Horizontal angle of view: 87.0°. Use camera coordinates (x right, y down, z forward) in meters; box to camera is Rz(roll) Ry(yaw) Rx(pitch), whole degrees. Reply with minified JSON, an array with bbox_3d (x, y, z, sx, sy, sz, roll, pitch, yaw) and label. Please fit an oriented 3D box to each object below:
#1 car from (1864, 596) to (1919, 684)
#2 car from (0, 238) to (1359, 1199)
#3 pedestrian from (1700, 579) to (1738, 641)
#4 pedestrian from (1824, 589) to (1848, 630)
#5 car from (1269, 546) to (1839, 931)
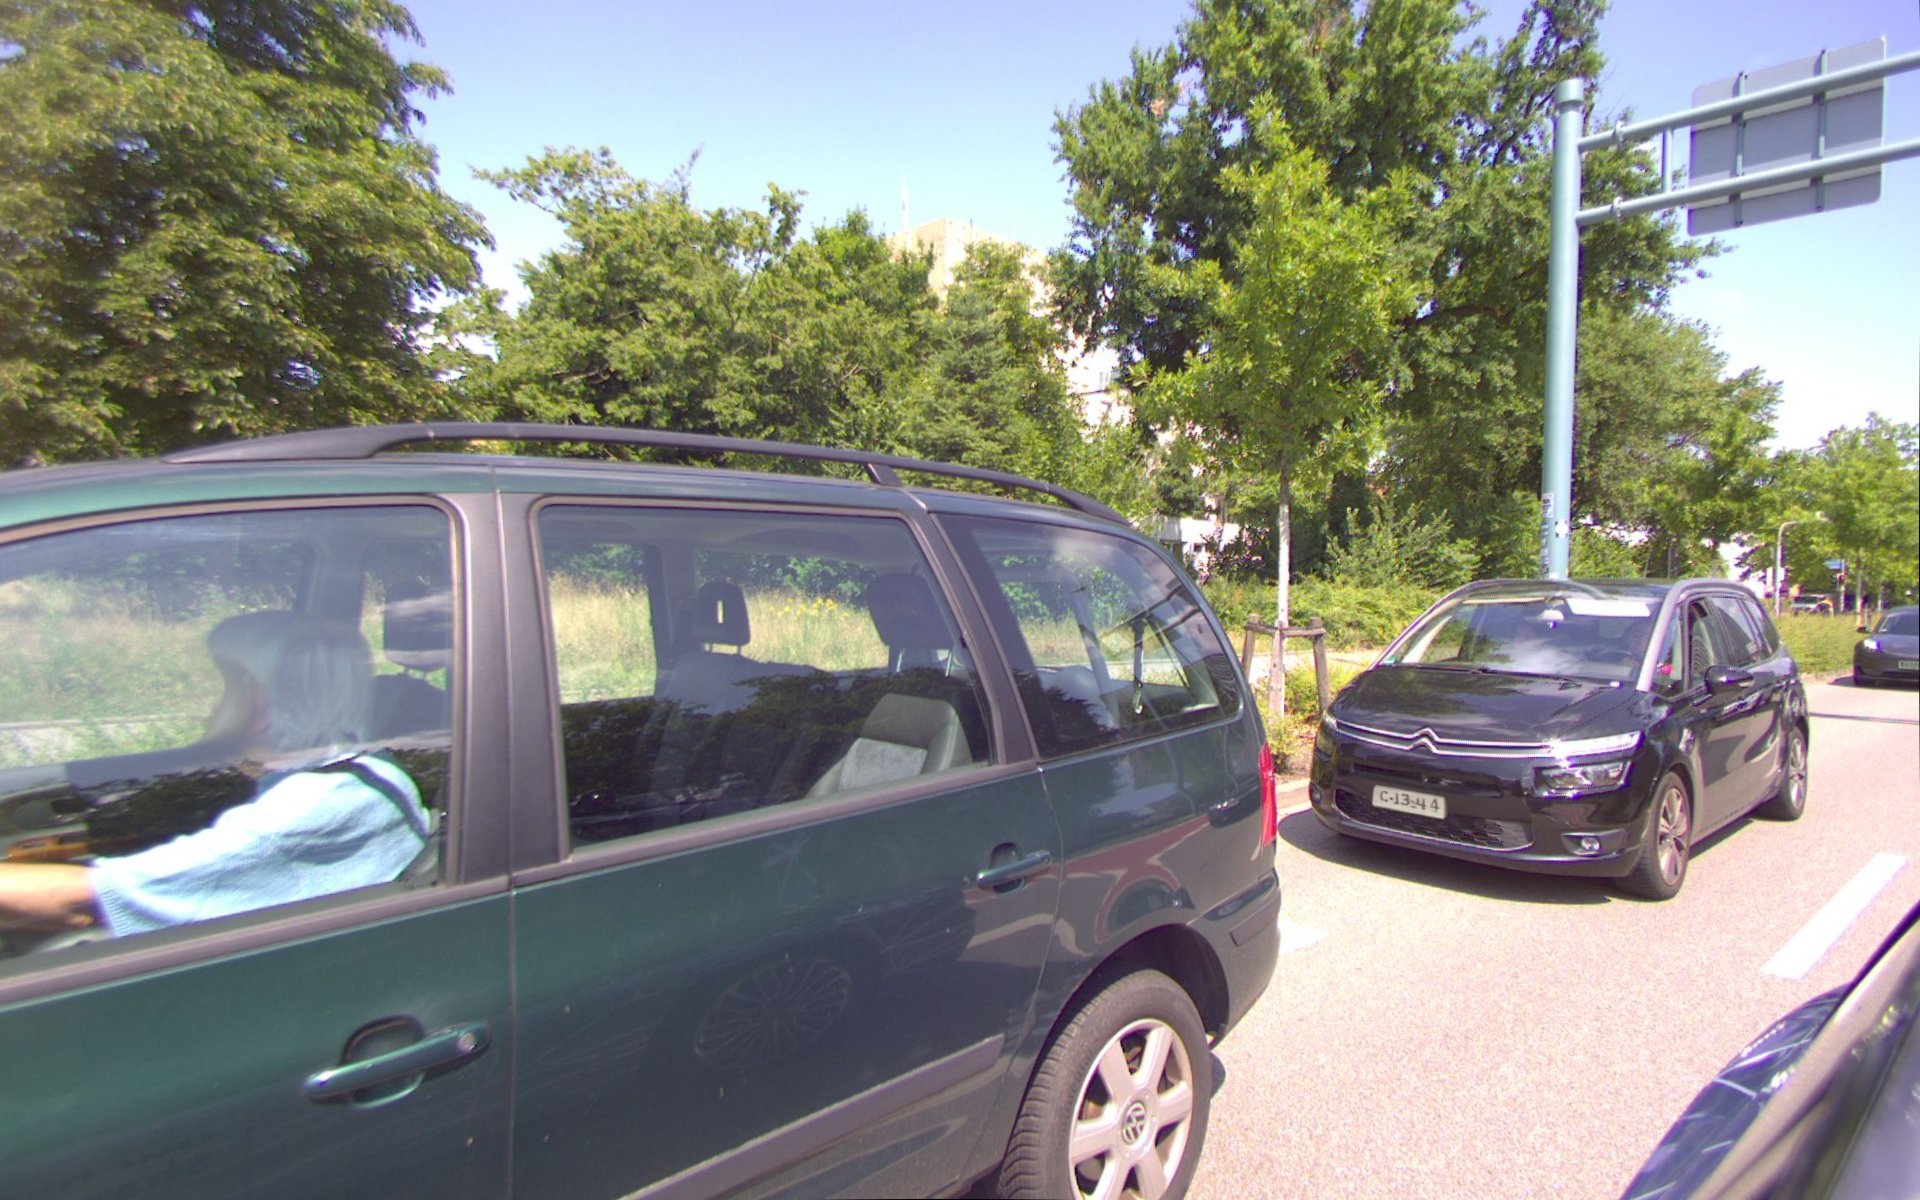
[{"bbox_3d":[17.324,0.661,17.658,4.085,1.386,1.805,-1,2,-41],"label":"car"},{"bbox_3d":[-1.145,0.528,1.960,4.315,1.737,1.804,0,-1,-41],"label":"car"},{"bbox_3d":[25.721,0.329,34.290,0.886,2.063,0.844,1,1,-43],"label":"pedestrian"},{"bbox_3d":[38.704,0.404,44.705,0.635,1.787,0.876,2,1,32],"label":"pedestrian"},{"bbox_3d":[3.982,0.602,6.433,4.400,1.628,1.815,1,-1,-41],"label":"car"}]
